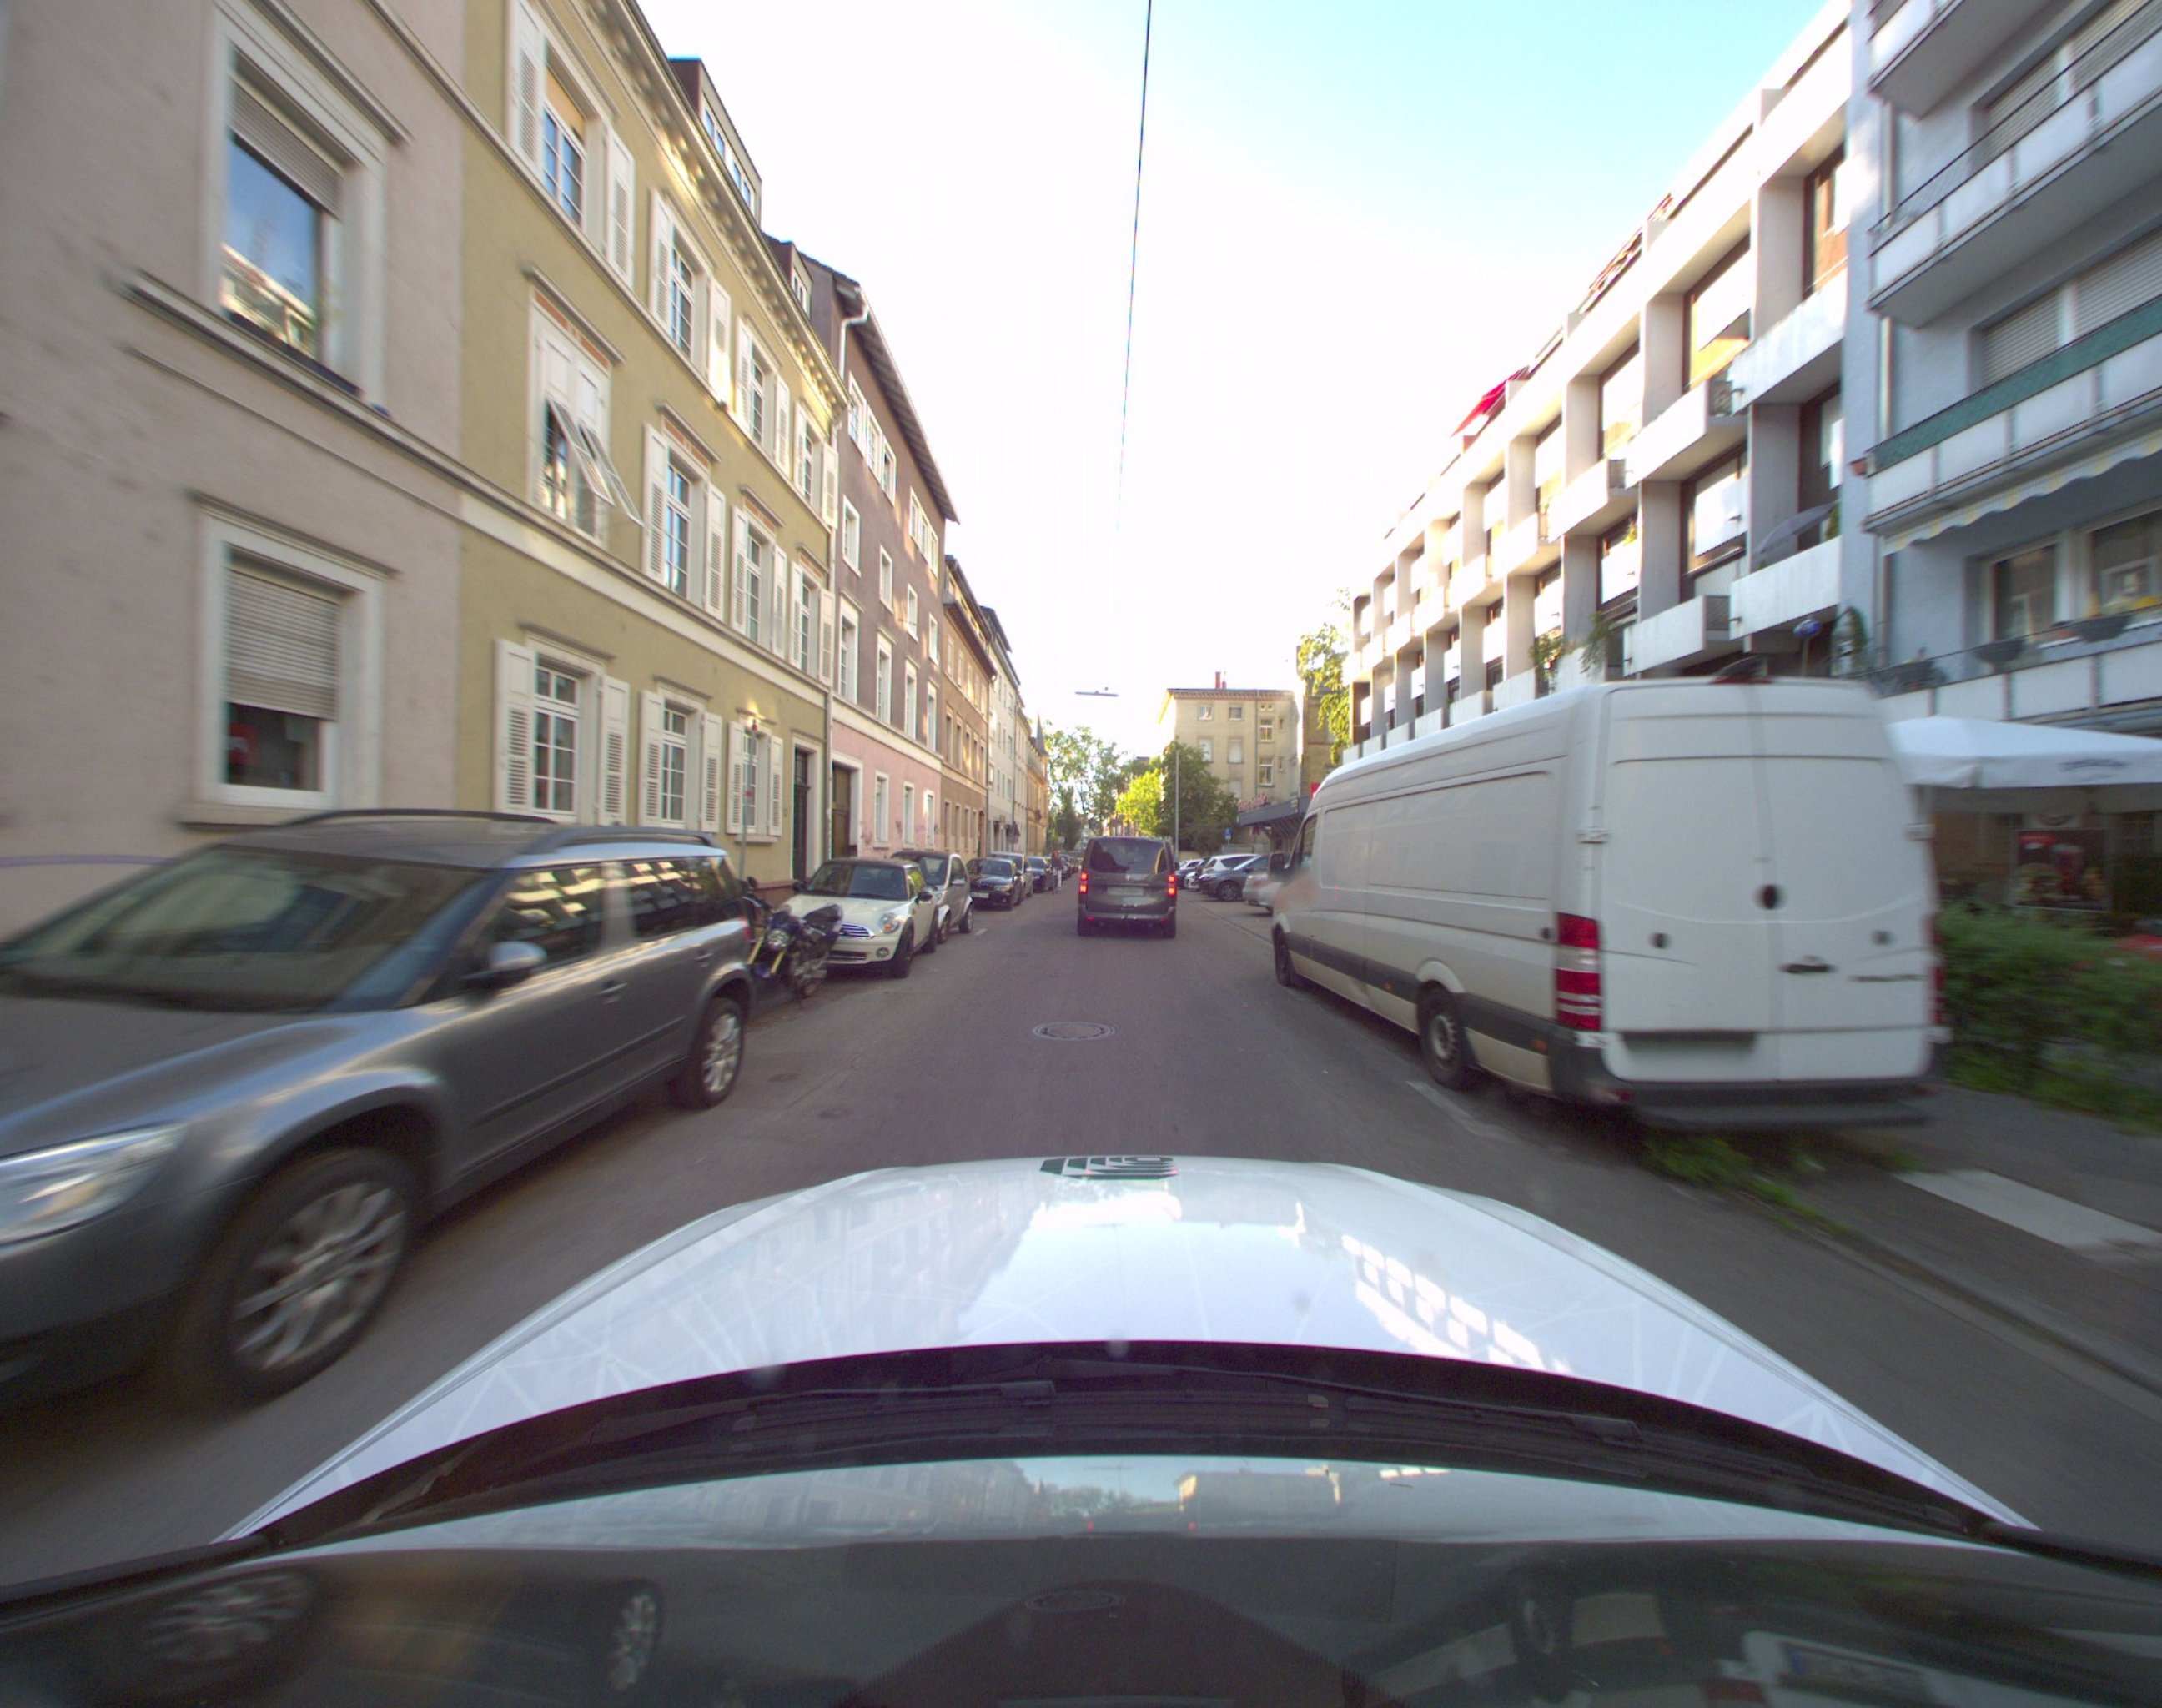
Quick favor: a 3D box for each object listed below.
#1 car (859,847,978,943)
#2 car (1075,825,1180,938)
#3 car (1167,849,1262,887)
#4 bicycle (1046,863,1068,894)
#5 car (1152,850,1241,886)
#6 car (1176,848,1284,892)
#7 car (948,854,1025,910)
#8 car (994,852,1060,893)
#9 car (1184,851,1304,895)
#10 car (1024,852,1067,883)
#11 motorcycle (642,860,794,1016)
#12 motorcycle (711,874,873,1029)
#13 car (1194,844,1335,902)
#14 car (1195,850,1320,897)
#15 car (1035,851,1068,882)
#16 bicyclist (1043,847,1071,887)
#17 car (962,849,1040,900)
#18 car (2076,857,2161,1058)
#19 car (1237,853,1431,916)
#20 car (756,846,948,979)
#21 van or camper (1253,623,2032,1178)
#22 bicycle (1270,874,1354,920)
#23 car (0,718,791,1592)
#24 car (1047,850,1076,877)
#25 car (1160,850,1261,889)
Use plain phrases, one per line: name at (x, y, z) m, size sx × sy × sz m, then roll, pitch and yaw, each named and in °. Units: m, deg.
car at (-2.835, 0.672, 14.734) m, size 1.379 × 1.532 × 2.752 m, roll 1°, pitch 0°, yaw 4°
car at (0.952, 0.491, 16.660) m, size 1.850 × 2.013 × 4.003 m, roll -1°, pitch 0°, yaw 3°
car at (7.014, 0.737, 42.933) m, size 4.563 × 1.858 × 1.996 m, roll 1°, pitch 0°, yaw -6°
bicycle at (-0.951, 0.956, 32.497) m, size 0.618 × 1.138 × 2.260 m, roll 0°, pitch 0°, yaw 5°
car at (6.403, 0.759, 45.368) m, size 4.563 × 1.858 × 1.996 m, roll 1°, pitch 0°, yaw -6°
car at (6.714, 0.723, 37.028) m, size 4.467 × 1.858 × 1.881 m, roll 1°, pitch 0°, yaw -6°
car at (-2.644, 0.748, 23.754) m, size 1.783 × 1.397 × 4.464 m, roll 2°, pitch 0°, yaw -2°
car at (-2.195, 0.736, 34.565) m, size 1.983 × 1.560 × 4.592 m, roll 1°, pitch 0°, yaw 6°
car at (6.836, 0.784, 34.412) m, size 4.563 × 1.705 × 1.996 m, roll 1°, pitch 0°, yaw -6°
car at (-1.885, 0.705, 44.170) m, size 2.138 × 1.560 × 4.582 m, roll 1°, pitch 0°, yaw -2°
motorcycle at (-3.627, 0.770, 8.329) m, size 0.703 × 1.390 × 1.849 m, roll 1°, pitch 0°, yaw 0°
motorcycle at (-2.751, 0.853, 8.099) m, size 0.708 × 1.234 × 2.474 m, roll 1°, pitch 0°, yaw 0°
car at (6.443, 0.650, 28.953) m, size 4.555 × 1.858 × 2.000 m, roll 1°, pitch 0°, yaw 0°
car at (6.826, 0.735, 31.736) m, size 4.446 × 1.676 × 1.795 m, roll 1°, pitch 0°, yaw -4°
car at (-1.866, 0.762, 52.769) m, size 1.988 × 1.858 × 4.582 m, roll 1°, pitch 0°, yaw -2°
bicyclist at (-0.963, 0.507, 32.801) m, size 1.029 × 1.578 × 0.834 m, roll 0°, pitch 0°, yaw 5°
car at (-2.700, 0.664, 28.669) m, size 1.985 × 1.605 × 4.589 m, roll 1°, pitch 0°, yaw 3°
car at (8.022, 0.731, 4.720) m, size 1.585 × 1.416 × 3.247 m, roll 0°, pitch 0°, yaw 24°
car at (6.665, 0.778, 21.813) m, size 4.609 × 1.466 × 1.841 m, roll -2°, pitch 0°, yaw 1°
car at (-2.947, 0.677, 11.320) m, size 1.707 × 1.497 × 3.851 m, roll 1°, pitch 0°, yaw -3°
van or camper at (3.444, 0.217, 7.591) m, size 2.093 × 2.602 × 7.511 m, roll 0°, pitch 0°, yaw 0°
bicycle at (5.633, 1.041, 19.927) m, size 1.890 × 1.067 × 0.679 m, roll 0°, pitch 0°, yaw 4°
car at (-3.065, 0.581, 3.748) m, size 1.857 × 1.751 × 4.293 m, roll 1°, pitch 0°, yaw 0°
car at (-1.442, 0.664, 59.942) m, size 1.988 × 1.858 × 4.582 m, roll 1°, pitch 0°, yaw -2°
car at (6.307, 0.736, 39.962) m, size 4.563 × 1.792 × 1.996 m, roll 1°, pitch 0°, yaw -6°
